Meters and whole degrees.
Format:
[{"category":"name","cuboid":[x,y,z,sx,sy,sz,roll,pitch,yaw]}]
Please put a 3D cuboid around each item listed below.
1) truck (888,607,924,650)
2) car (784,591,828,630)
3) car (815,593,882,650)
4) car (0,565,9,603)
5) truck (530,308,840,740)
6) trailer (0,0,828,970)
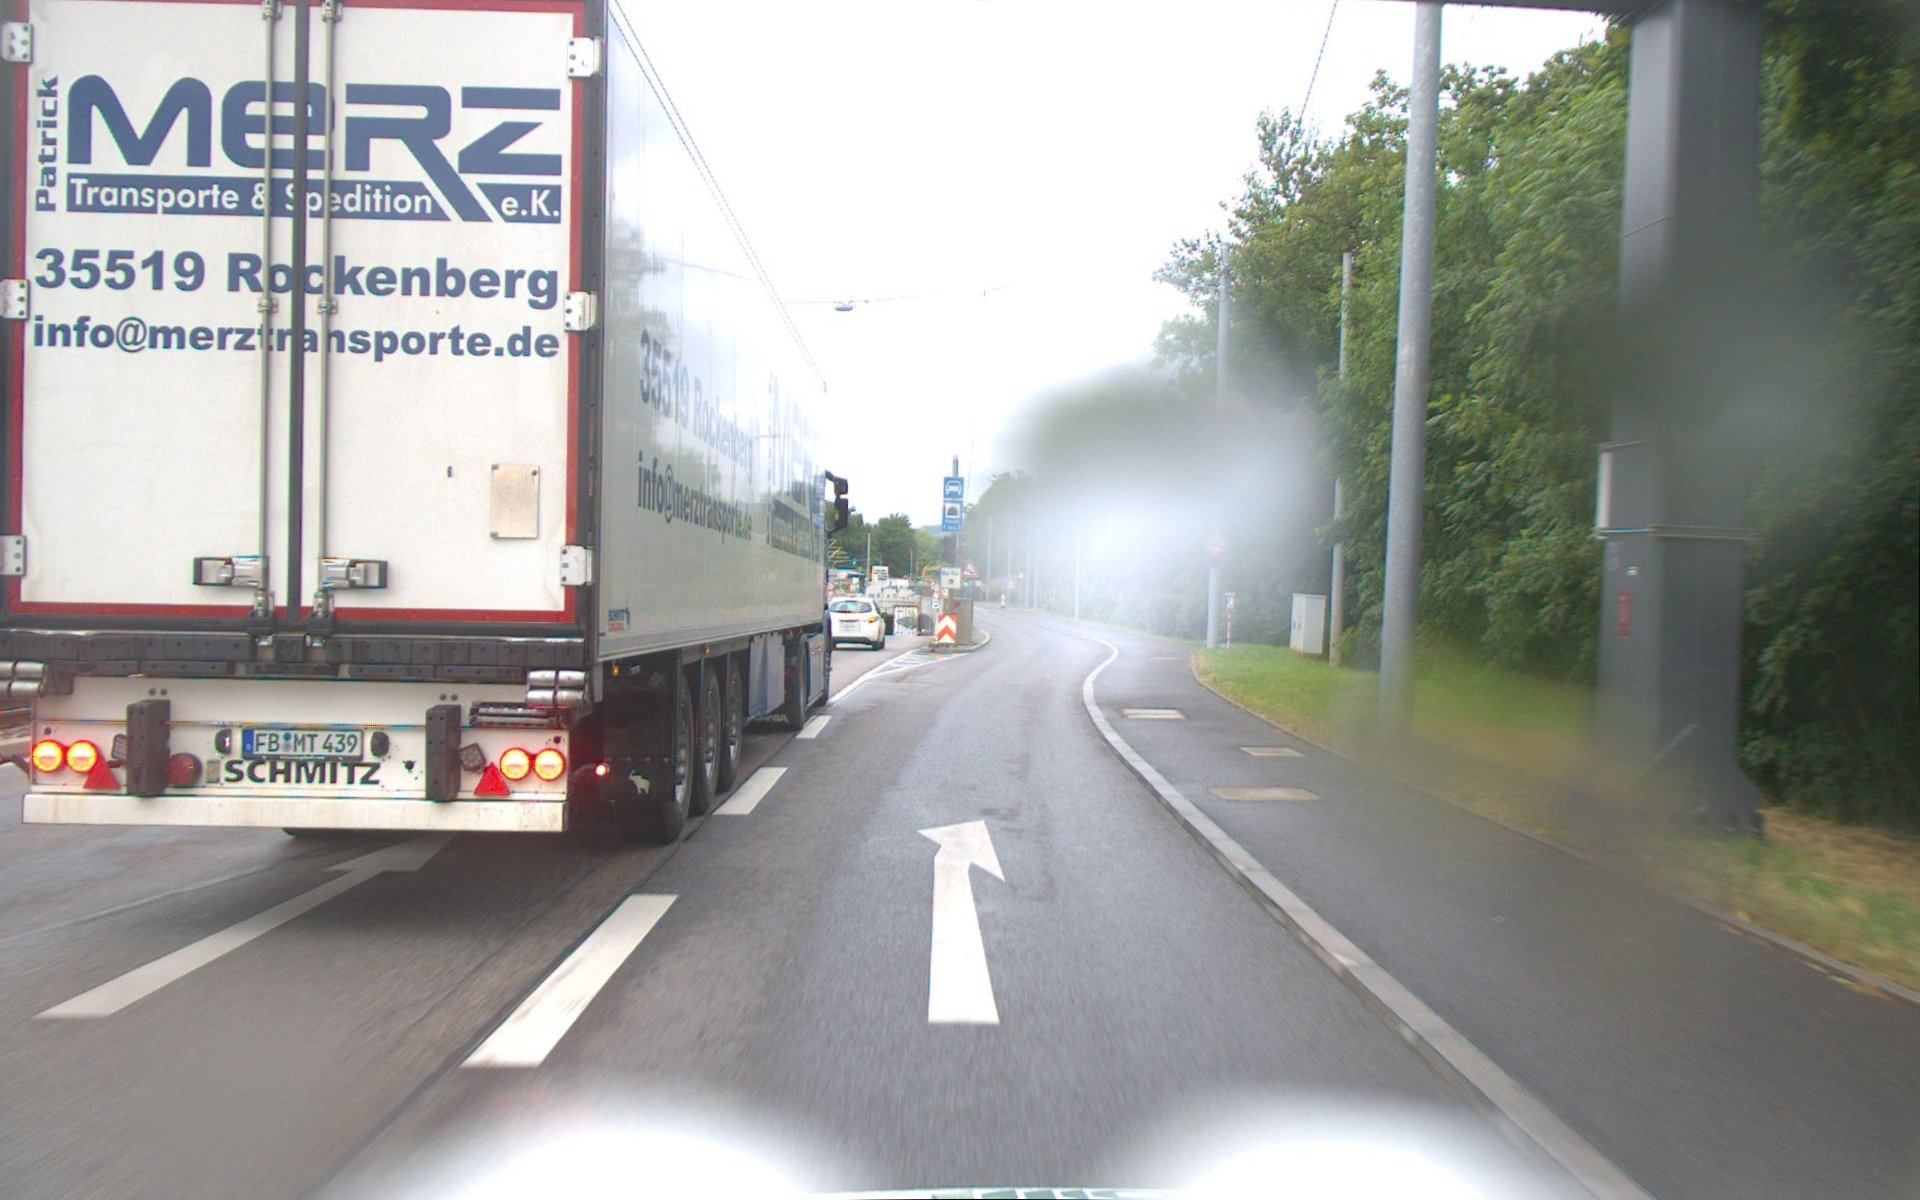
[{"category":"truck","cuboid":[-5.482,2.845,168.173,3.447,4.110,8.071,1,0,-2]},{"category":"car","cuboid":[-6.663,0.436,71.863,1.647,1.471,3.999,1,2,-2]},{"category":"car","cuboid":[-3.178,0.587,47.829,1.773,1.448,3.999,1,2,-2]},{"category":"car","cuboid":[-34.899,-0.603,56.826,3.443,1.297,1.717,2,0,2]},{"category":"truck","cuboid":[-2.952,-0.771,19.578,2.700,4.278,6.305,0,0,-1]},{"category":"trailer","cuboid":[-2.848,-0.725,13.248,2.706,4.327,13.181,0,0,-1]}]
